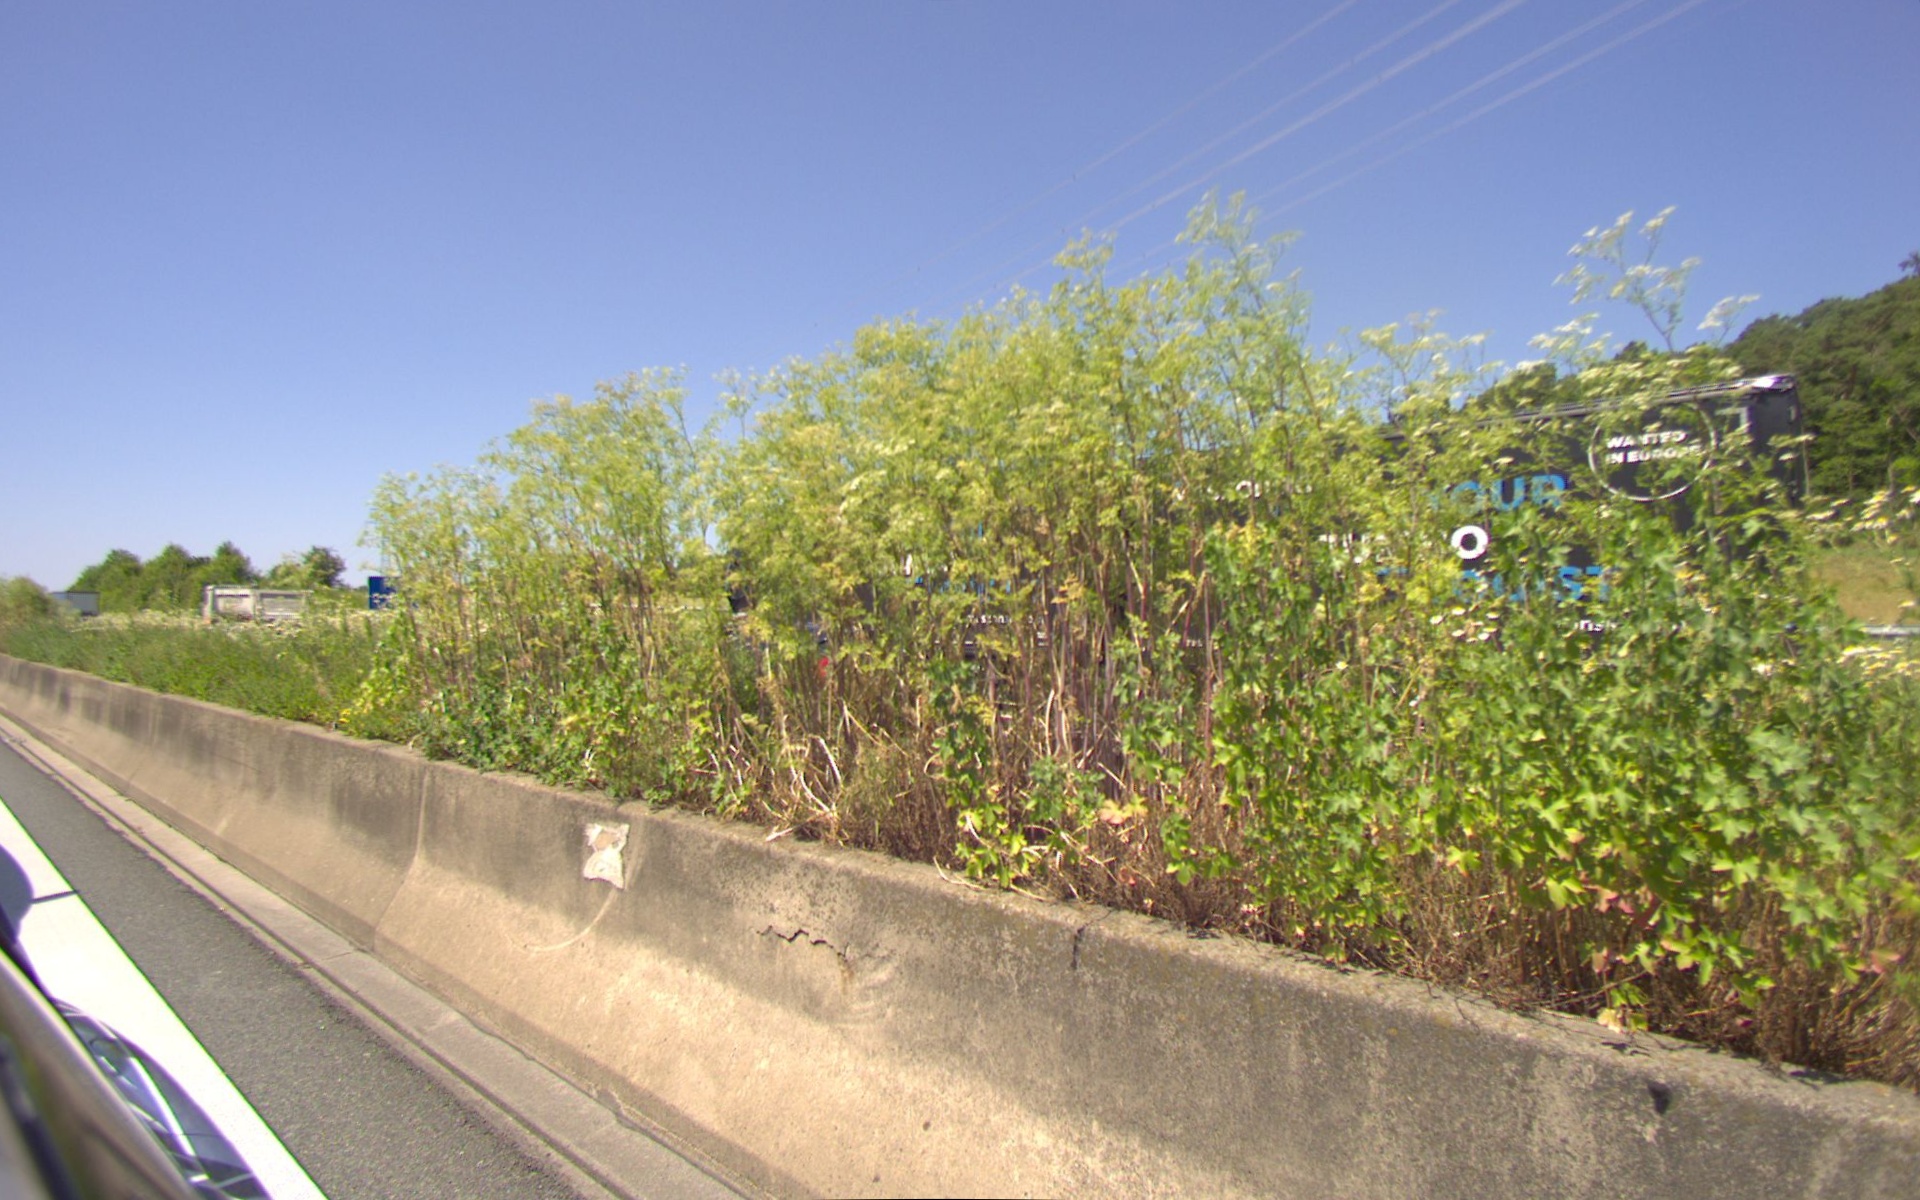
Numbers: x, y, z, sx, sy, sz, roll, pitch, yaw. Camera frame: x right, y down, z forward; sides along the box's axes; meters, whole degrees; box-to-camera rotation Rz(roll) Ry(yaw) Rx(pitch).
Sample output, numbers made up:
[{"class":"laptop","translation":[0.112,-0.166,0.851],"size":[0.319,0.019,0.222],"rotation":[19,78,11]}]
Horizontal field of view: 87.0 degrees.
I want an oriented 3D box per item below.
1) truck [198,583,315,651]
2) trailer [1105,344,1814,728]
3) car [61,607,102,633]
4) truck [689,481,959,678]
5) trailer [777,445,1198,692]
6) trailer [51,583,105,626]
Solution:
[{"class":"truck","translation":[-38.154,0.932,54.648],"size":[11.819,3.313,2.735],"rotation":[-1,-1,43]},{"class":"trailer","translation":[6.314,-0.557,13.906],"size":[8.197,3.790,3.149],"rotation":[-1,-2,42]},{"class":"car","translation":[-61.208,1.379,70.501],"size":[4.024,1.801,1.588],"rotation":[-1,-1,41]},{"class":"truck","translation":[-3.070,-0.335,22.153],"size":[5.460,3.738,3.039],"rotation":[-1,-1,41]},{"class":"trailer","translation":[0.221,-0.419,19.286],"size":[7.866,3.787,3.092],"rotation":[-1,-1,41]},{"class":"trailer","translation":[-91.270,0.497,104.651],"size":[10.980,4.260,2.979],"rotation":[-1,-1,43]}]
